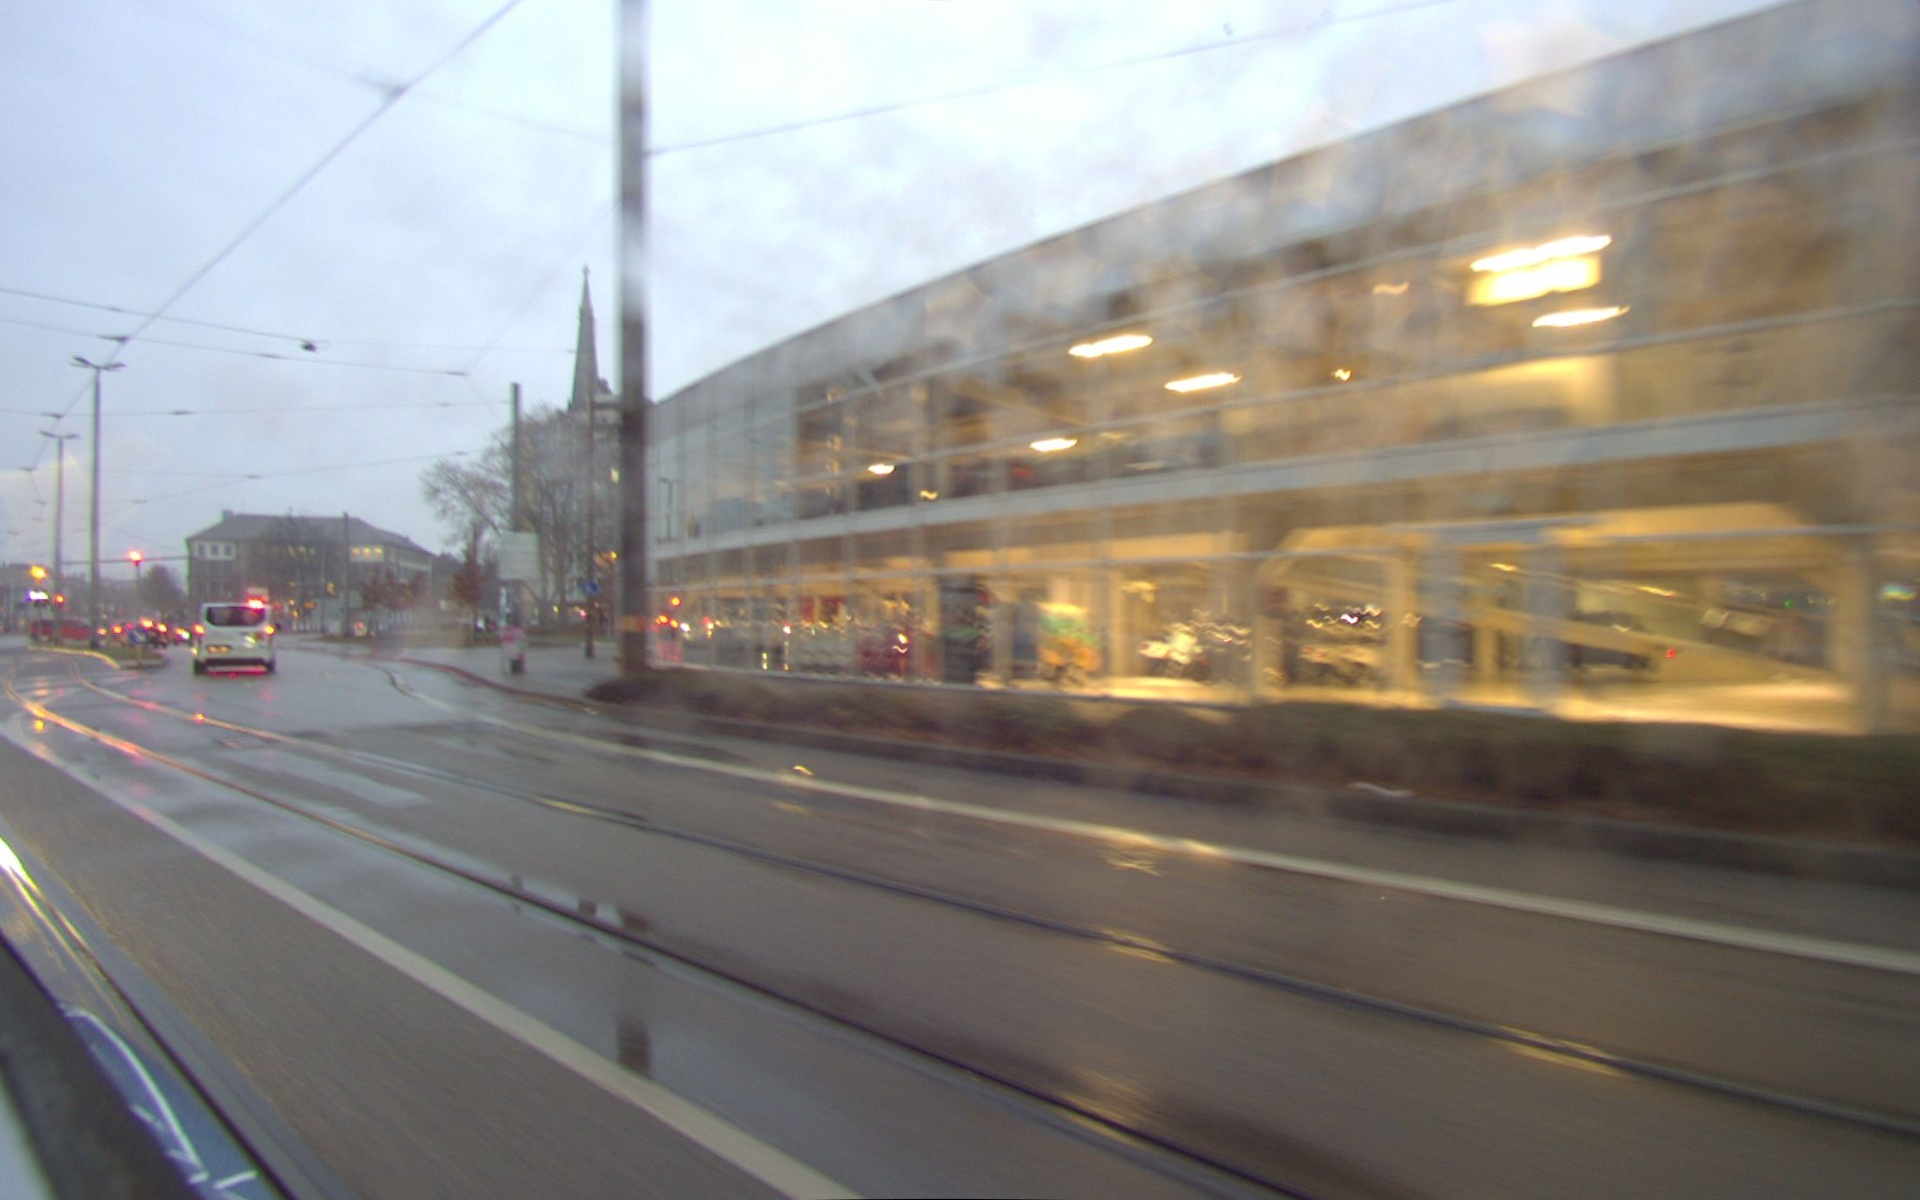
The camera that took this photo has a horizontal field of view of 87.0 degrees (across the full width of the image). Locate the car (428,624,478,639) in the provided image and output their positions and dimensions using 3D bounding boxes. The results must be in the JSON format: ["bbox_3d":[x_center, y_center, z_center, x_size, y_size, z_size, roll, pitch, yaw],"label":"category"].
[{"bbox_3d":[-49.673,3.088,99.211,3.949,1.320,1.997,-1,0,5],"label":"car"}]

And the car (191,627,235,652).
[{"bbox_3d":[-45.109,2.366,61.106,3.472,1.429,1.582,-1,-1,44],"label":"car"}]

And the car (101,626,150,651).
[{"bbox_3d":[-51.548,2.341,62.488,4.000,1.497,1.879,-1,-1,43],"label":"car"}]

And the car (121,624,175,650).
[{"bbox_3d":[-46.301,2.099,57.668,4.001,1.401,1.850,-1,-3,44],"label":"car"}]

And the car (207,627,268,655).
[{"bbox_3d":[-40.134,2.256,56.150,4.589,1.432,1.971,-1,-1,44],"label":"car"}]

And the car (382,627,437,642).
[{"bbox_3d":[-49.736,3.115,91.544,3.949,1.320,1.997,-1,0,5],"label":"car"}]

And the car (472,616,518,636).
[{"bbox_3d":[-49.080,2.756,106.890,3.949,2.029,1.997,-1,0,5],"label":"car"}]

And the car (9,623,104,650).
[{"bbox_3d":[-73.490,2.958,82.450,5.457,2.029,2.006,0,0,-29],"label":"car"}]

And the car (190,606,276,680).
[{"bbox_3d":[-21.817,1.215,30.412,1.967,2.029,4.696,0,0,-36],"label":"car"}]

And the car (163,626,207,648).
[{"bbox_3d":[-50.804,2.374,66.310,4.000,1.368,1.705,-1,-1,43],"label":"car"}]

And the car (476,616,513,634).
[{"bbox_3d":[-55.279,2.916,120.295,3.930,2.029,2.007,0,0,-23],"label":"car"}]
